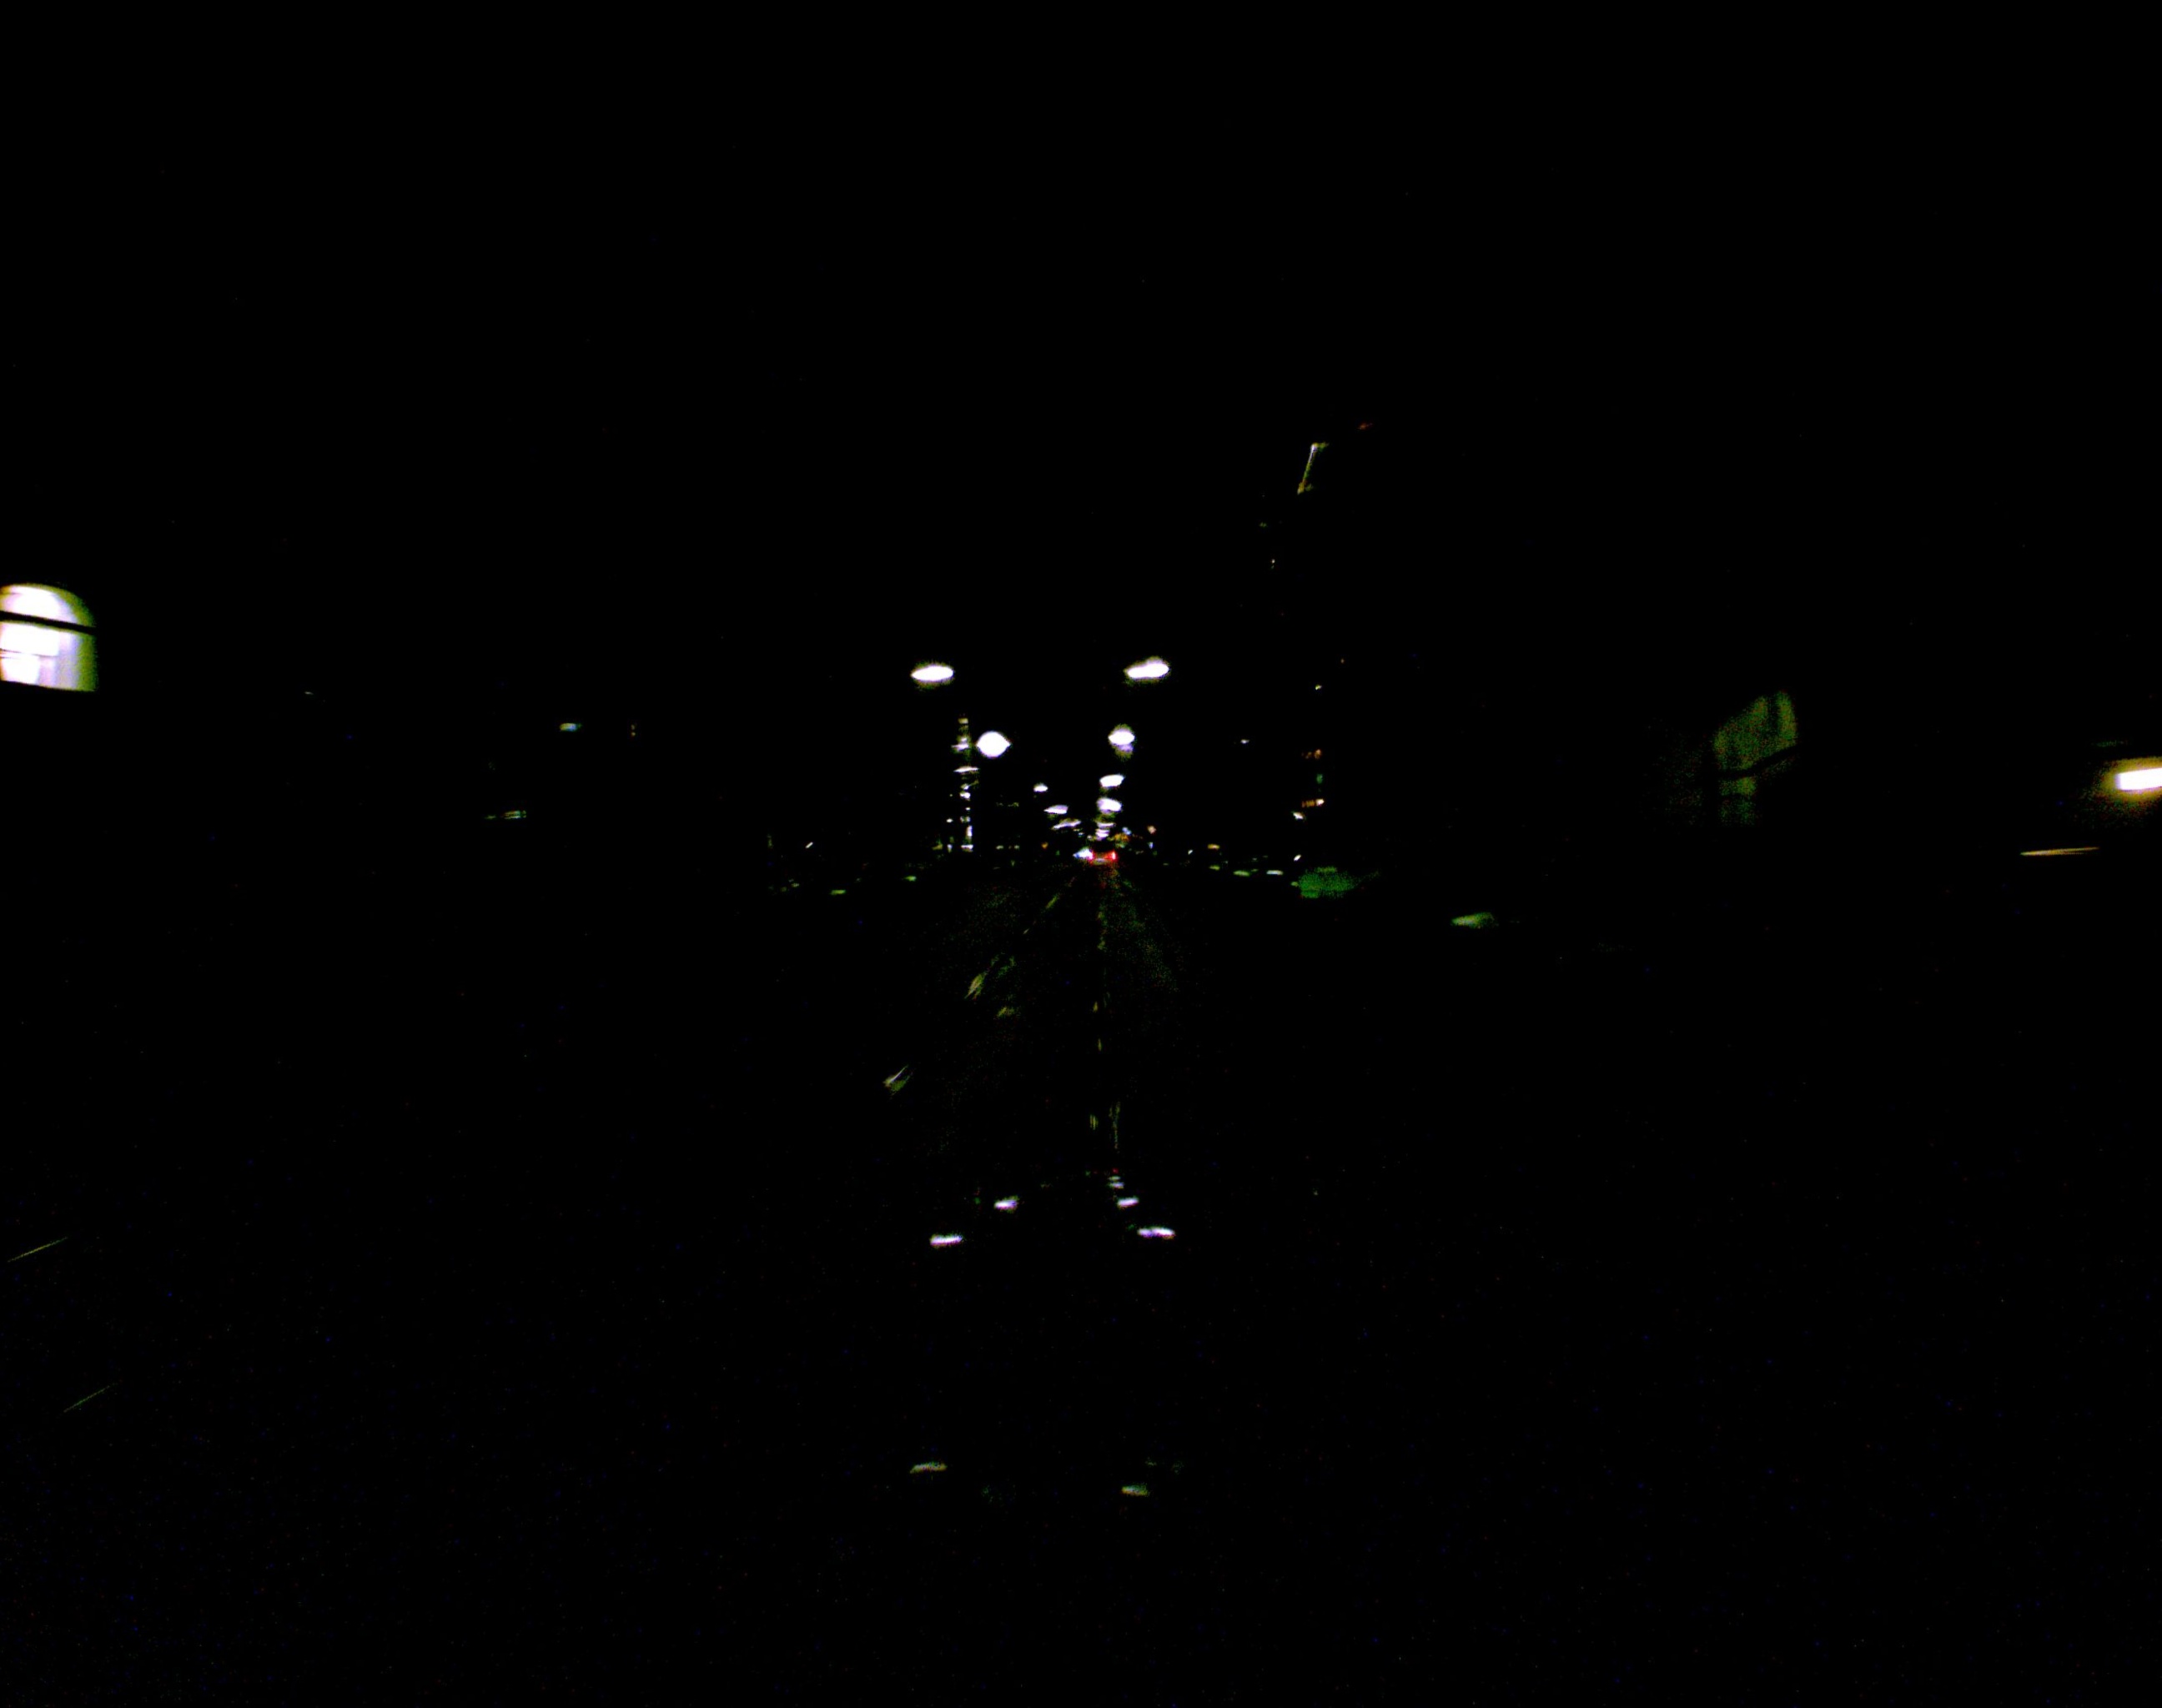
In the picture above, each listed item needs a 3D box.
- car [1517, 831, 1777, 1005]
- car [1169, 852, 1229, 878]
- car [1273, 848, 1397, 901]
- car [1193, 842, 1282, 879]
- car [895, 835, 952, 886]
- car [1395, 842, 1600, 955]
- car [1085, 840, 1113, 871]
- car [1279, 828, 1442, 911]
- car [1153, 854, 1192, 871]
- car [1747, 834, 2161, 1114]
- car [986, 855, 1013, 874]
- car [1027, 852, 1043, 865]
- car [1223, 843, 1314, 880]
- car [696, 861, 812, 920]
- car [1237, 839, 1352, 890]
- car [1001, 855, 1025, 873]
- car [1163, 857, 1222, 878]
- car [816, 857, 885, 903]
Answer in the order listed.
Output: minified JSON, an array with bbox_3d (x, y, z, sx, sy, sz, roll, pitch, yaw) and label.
[{"bbox_3d":[6.360,0.528,8.964,1.785,1.488,3.879,-1,0,43],"label":"car"},{"bbox_3d":[7.634,0.677,52.549,2.030,1.623,3.852,0,0,43],"label":"car"},{"bbox_3d":[7.212,0.537,23.062,3.350,1.385,1.614,0,0,-34],"label":"car"},{"bbox_3d":[6.889,0.264,35.689,3.909,1.533,1.800,0,0,-41],"label":"car"},{"bbox_3d":[-8.185,0.285,42.809,2.019,2.499,5.604,1,0,-1],"label":"car"},{"bbox_3d":[6.356,0.567,12.244,3.857,1.438,1.580,0,0,-44],"label":"car"},{"bbox_3d":[1.455,0.102,68.077,2.210,2.441,5.382,-1,0,-1],"label":"car"},{"bbox_3d":[6.957,0.333,20.068,4.196,1.839,1.940,0,0,-41],"label":"car"},{"bbox_3d":[8.769,0.756,77.892,1.886,1.572,3.987,0,0,40],"label":"car"},{"bbox_3d":[6.509,0.628,6.116,3.810,1.458,1.749,0,0,-42],"label":"car"},{"bbox_3d":[-7.618,0.991,76.779,2.102,1.764,4.962,1,-1,-1],"label":"car"},{"bbox_3d":[-6.559,0.661,116.441,2.016,1.761,4.000,1,-1,0],"label":"car"},{"bbox_3d":[7.608,0.289,32.934,3.878,1.433,1.799,0,0,-45],"label":"car"},{"bbox_3d":[-8.702,0.922,22.007,1.605,1.428,3.807,0,0,-1],"label":"car"},{"bbox_3d":[6.987,0.290,26.358,1.671,1.404,4.485,0,2,42],"label":"car"},{"bbox_3d":[-7.097,1.064,85.314,1.993,1.785,4.000,1,-1,1],"label":"car"},{"bbox_3d":[8.023,0.927,58.388,4.272,1.454,1.927,0,0,-43],"label":"car"},{"bbox_3d":[-8.670,0.928,30.922,1.636,1.507,3.617,0,2,-1],"label":"car"}]
